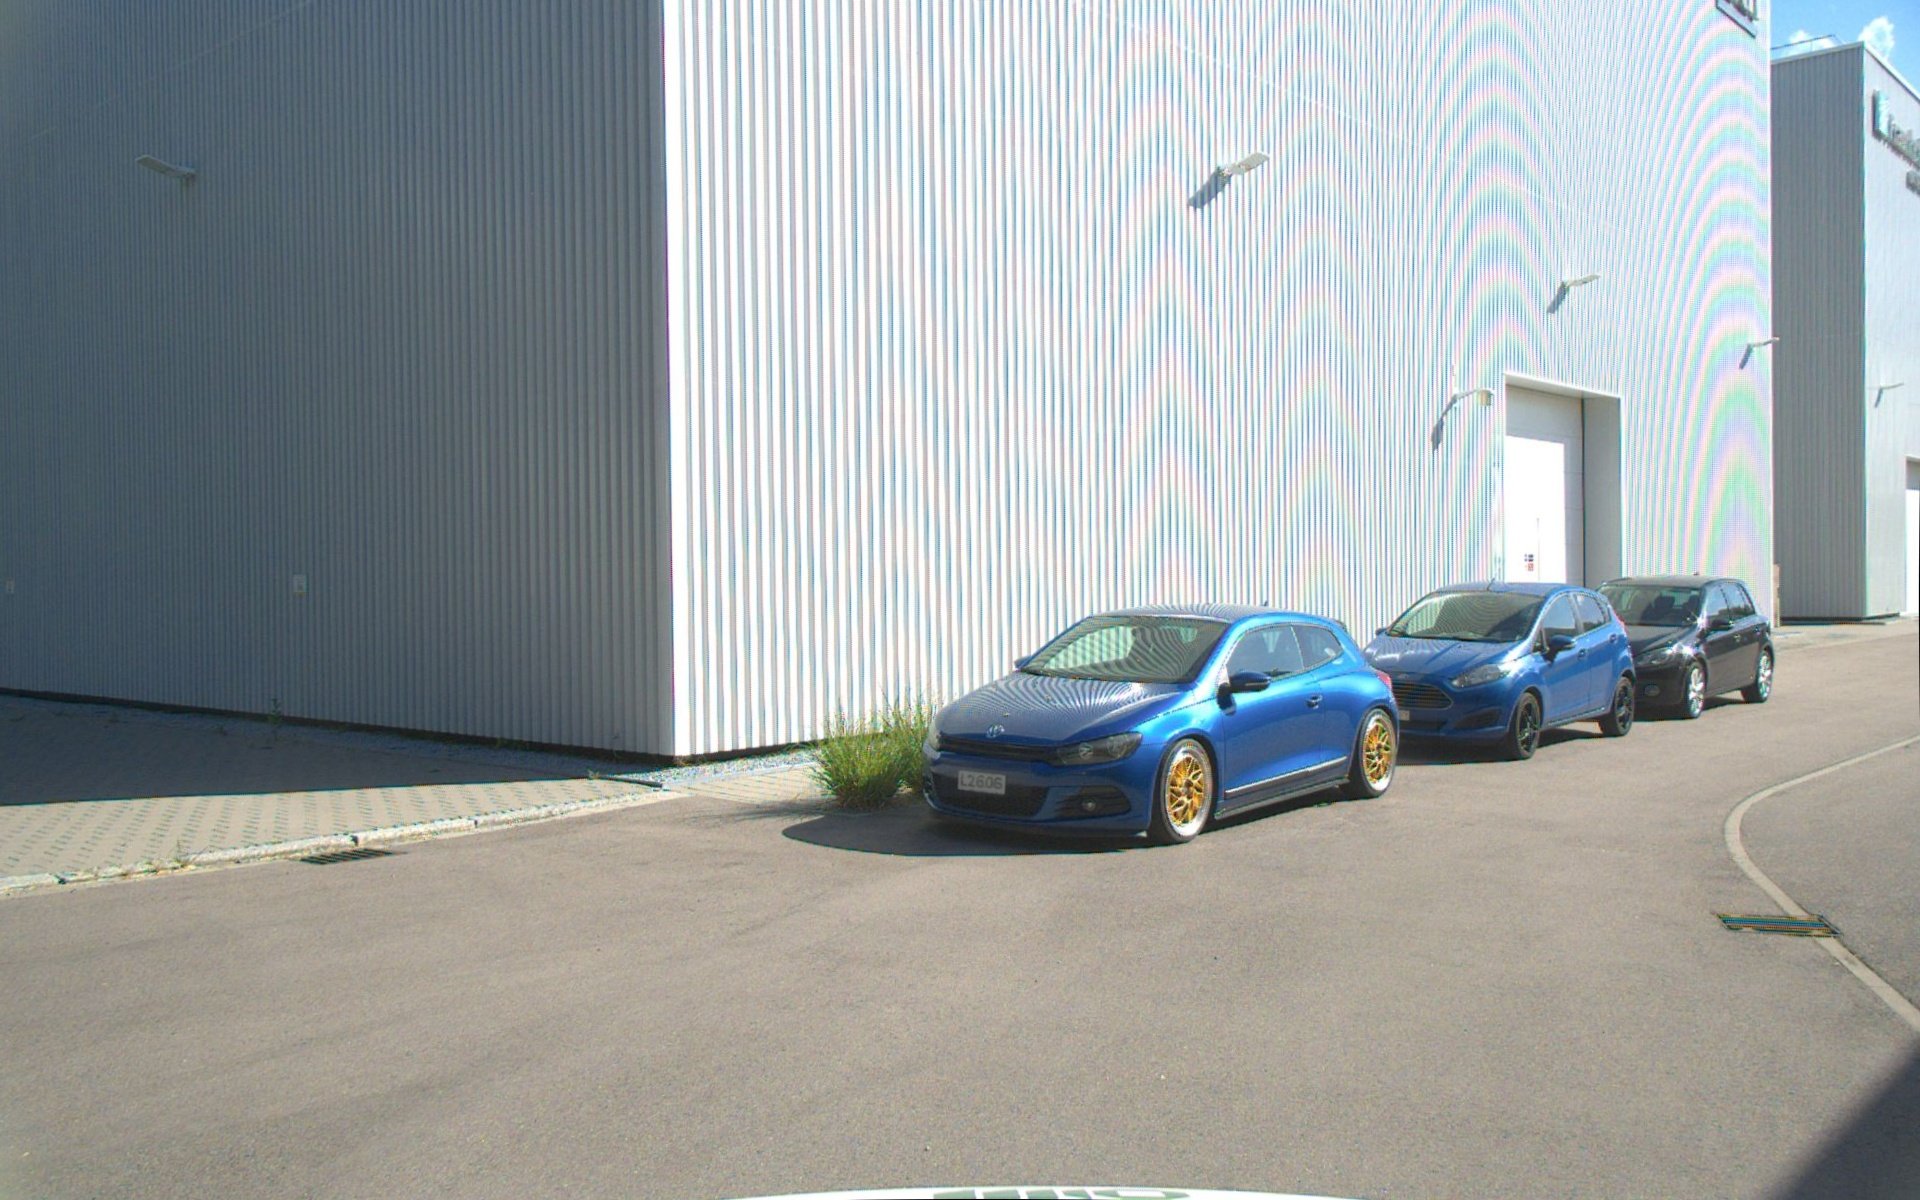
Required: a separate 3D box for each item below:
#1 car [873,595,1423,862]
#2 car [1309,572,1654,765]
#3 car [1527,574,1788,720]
[{"bbox_3d":[1.445,0.695,11.170,1.722,1.408,4.147,0,1,40],"label":"car"},{"bbox_3d":[4.956,0.520,15.412,1.723,1.498,3.878,2,3,40],"label":"car"},{"bbox_3d":[8.160,0.453,19.173,1.723,1.442,3.878,2,3,40],"label":"car"}]
